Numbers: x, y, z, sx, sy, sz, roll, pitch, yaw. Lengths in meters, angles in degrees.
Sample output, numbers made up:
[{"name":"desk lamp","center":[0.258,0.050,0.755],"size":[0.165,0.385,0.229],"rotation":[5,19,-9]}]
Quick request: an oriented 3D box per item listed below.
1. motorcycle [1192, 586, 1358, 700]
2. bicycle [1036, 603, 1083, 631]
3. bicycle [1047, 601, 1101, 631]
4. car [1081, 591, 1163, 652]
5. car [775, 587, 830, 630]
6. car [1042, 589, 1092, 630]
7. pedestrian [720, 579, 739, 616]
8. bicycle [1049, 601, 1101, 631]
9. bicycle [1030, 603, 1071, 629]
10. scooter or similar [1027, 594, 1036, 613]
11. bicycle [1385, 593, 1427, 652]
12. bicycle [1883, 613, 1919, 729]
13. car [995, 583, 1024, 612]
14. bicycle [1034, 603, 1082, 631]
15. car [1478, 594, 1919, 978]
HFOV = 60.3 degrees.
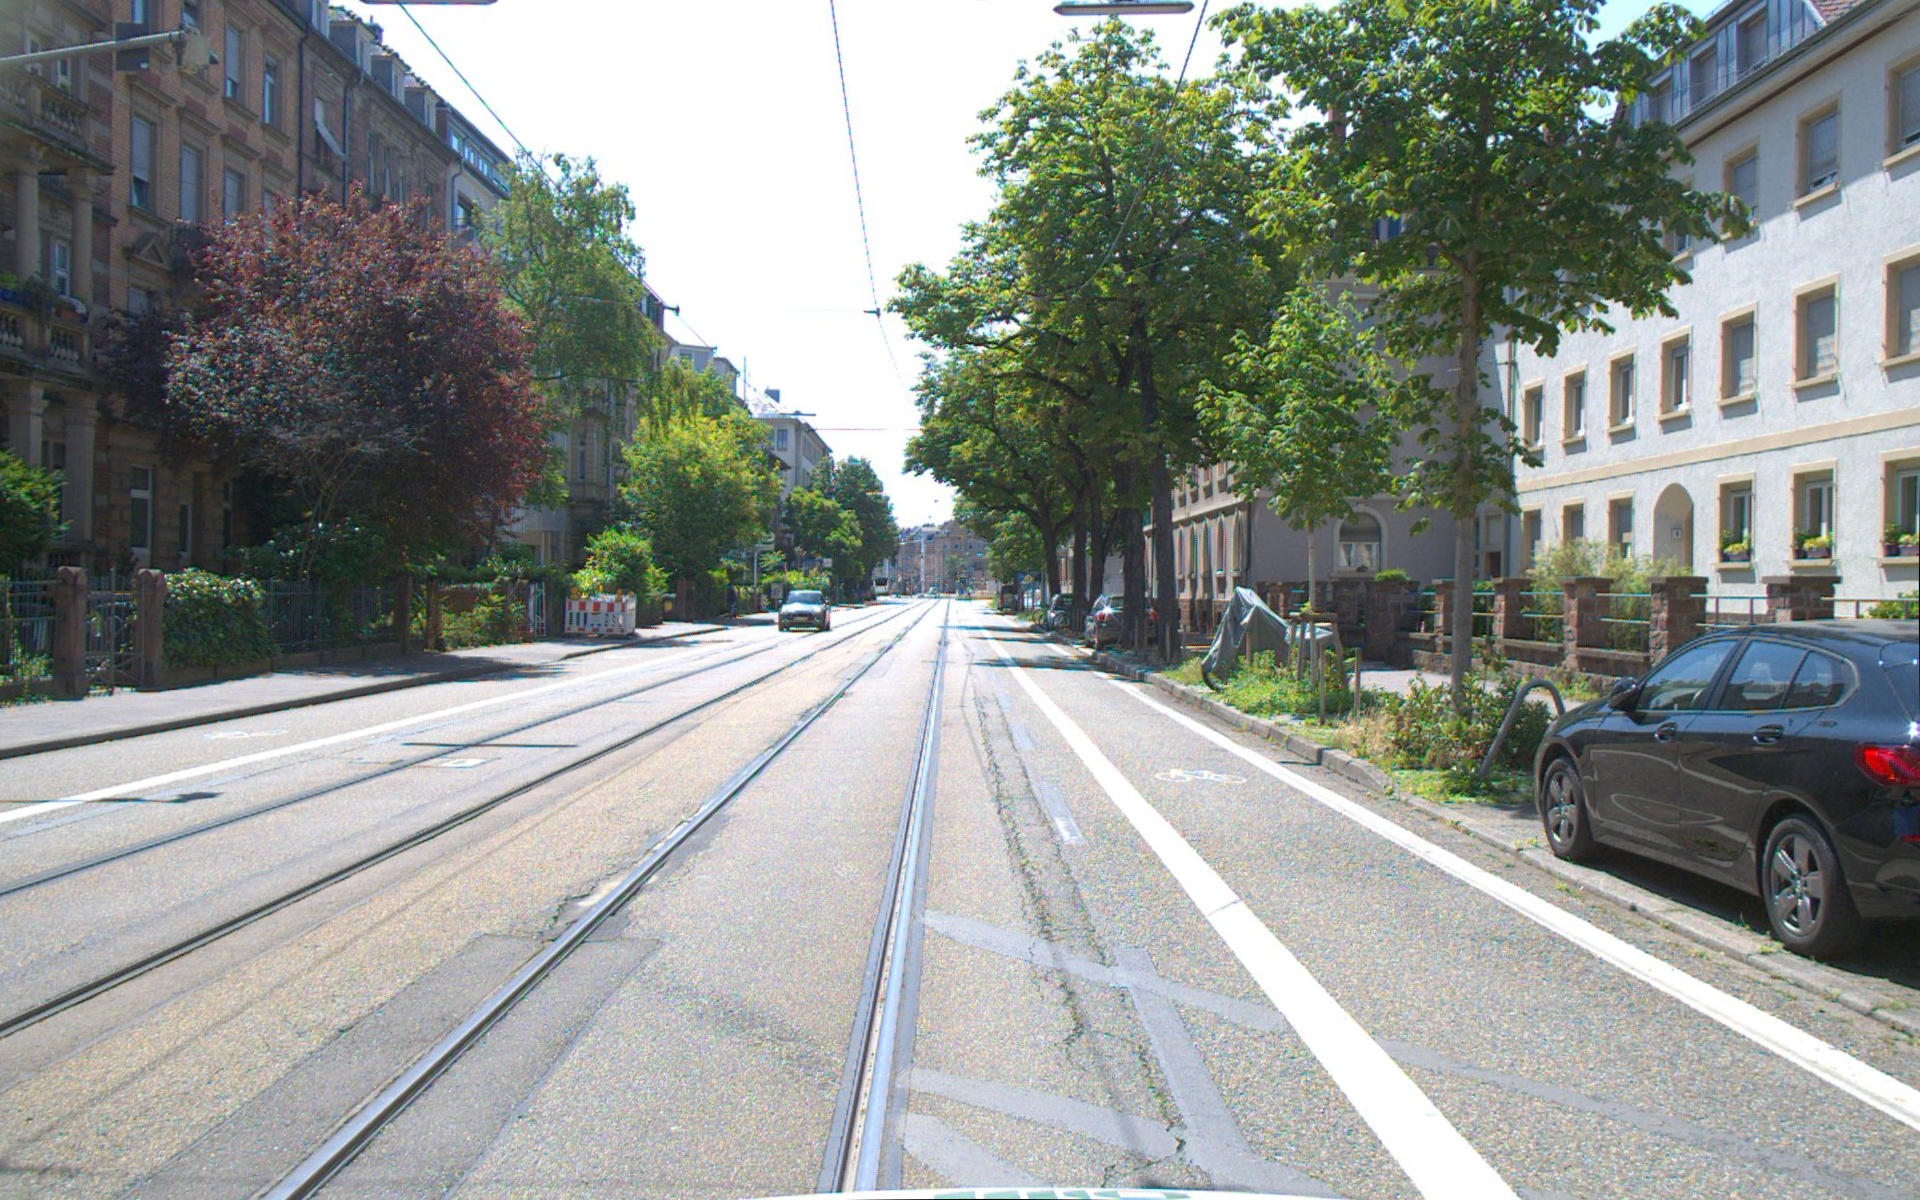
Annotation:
[{"name":"motorcycle","center":[4.588,0.590,24.202],"size":[2.280,1.567,0.864],"rotation":[1,1,43]},{"name":"bicycle","center":[4.133,0.702,68.875],"size":[1.922,1.133,0.599],"rotation":[-1,-1,2]},{"name":"bicycle","center":[4.142,0.566,60.066],"size":[1.921,1.082,0.599],"rotation":[0,0,6]},{"name":"car","center":[4.414,0.554,45.682],"size":[1.738,1.527,4.304],"rotation":[-1,1,-1]},{"name":"car","center":[-5.693,0.288,60.154],"size":[1.652,1.480,3.748],"rotation":[0,0,-1]},{"name":"car","center":[4.135,0.379,64.350],"size":[1.589,1.473,3.809],"rotation":[-2,0,-1]},{"name":"pedestrian","center":[-10.570,-0.115,75.838],"size":[0.735,1.657,0.833],"rotation":[1,0,-2]},{"name":"bicycle","center":[4.161,0.573,59.708],"size":[1.849,1.070,0.538],"rotation":[0,0,6]},{"name":"bicycle","center":[4.047,0.732,73.807],"size":[1.779,1.133,0.493],"rotation":[-1,-1,-1]},{"name":"scooter or similar","center":[4.778,0.244,110.721],"size":[0.491,1.251,1.573],"rotation":[1,0,-1]},{"name":"bicycle","center":[9.465,0.473,35.123],"size":[0.450,1.212,1.564],"rotation":[0,0,0]},{"name":"bicycle","center":[9.584,0.701,15.893],"size":[0.488,1.121,1.807],"rotation":[0,0,2]},{"name":"car","center":[3.635,-0.196,122.863],"size":[1.952,2.071,4.696],"rotation":[0,1,0]},{"name":"bicycle","center":[4.119,0.702,69.550],"size":[1.968,1.133,0.640],"rotation":[-1,-1,2]},{"name":"car","center":[4.510,0.722,8.871],"size":[1.733,1.451,4.859],"rotation":[0,1,-3]}]
